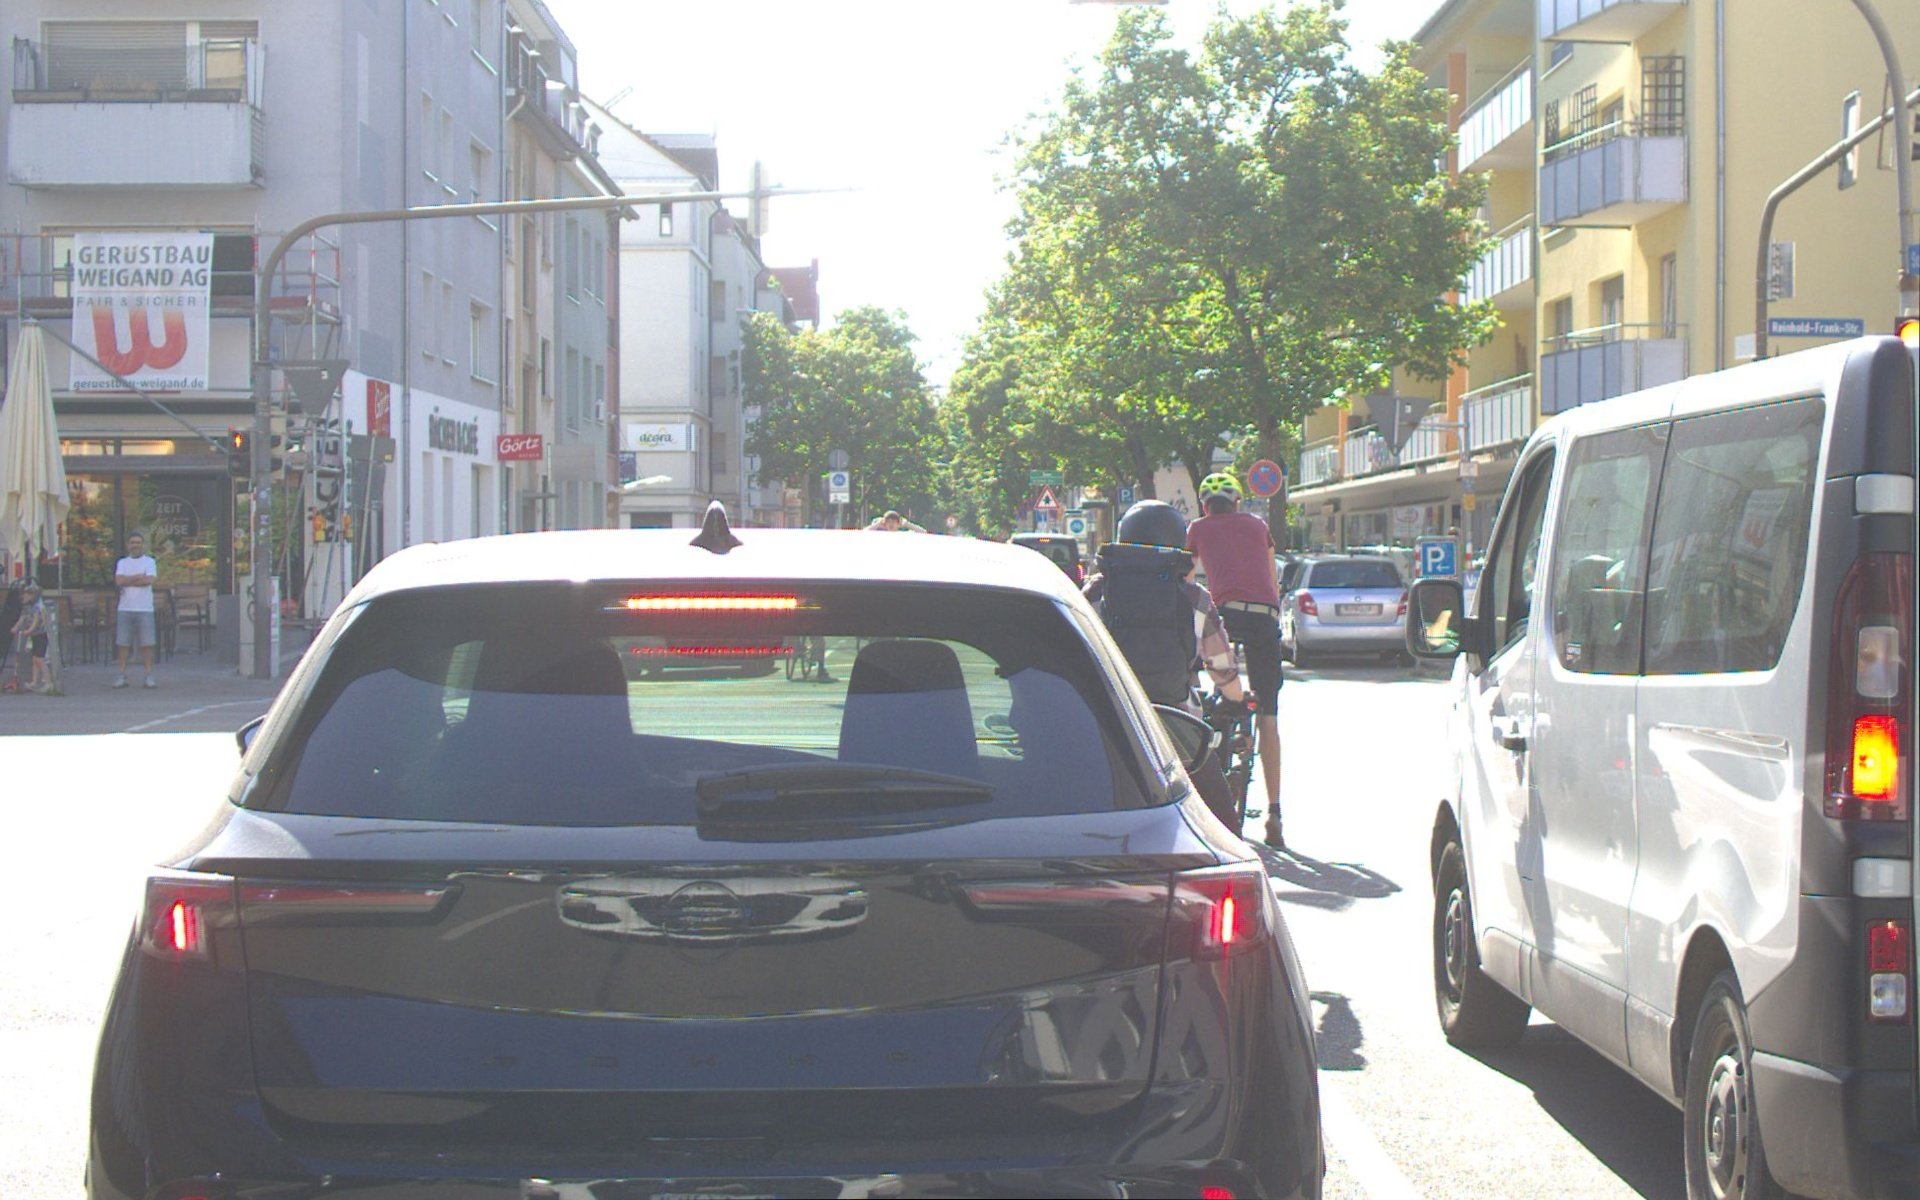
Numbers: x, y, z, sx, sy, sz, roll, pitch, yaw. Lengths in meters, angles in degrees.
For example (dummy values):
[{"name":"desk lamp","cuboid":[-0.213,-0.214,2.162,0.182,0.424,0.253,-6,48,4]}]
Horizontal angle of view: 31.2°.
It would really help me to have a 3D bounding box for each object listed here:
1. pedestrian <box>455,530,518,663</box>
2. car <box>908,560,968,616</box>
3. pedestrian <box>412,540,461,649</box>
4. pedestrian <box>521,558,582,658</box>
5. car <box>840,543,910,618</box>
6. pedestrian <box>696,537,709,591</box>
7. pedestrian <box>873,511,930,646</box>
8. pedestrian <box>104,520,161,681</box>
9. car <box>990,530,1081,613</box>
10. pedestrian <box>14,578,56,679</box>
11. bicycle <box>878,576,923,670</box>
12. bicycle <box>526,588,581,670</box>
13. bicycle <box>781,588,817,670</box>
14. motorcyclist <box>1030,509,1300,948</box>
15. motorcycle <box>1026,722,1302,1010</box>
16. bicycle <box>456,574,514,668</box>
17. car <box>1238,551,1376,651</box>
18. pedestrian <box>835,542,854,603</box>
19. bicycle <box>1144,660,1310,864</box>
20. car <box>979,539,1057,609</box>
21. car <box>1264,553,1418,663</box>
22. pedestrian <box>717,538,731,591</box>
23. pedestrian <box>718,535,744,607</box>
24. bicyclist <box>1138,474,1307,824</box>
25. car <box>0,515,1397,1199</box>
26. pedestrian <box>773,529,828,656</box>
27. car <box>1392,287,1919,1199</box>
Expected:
[{"name":"pedestrian","cuboid":[-6.011,-0.045,43.673,0.707,1.672,0.802,0,1,-2]},{"name":"car","cuboid":[-0.675,-0.389,109.181,1.825,1.722,4.000,0,1,1]},{"name":"pedestrian","cuboid":[-7.339,-0.085,48.216,0.617,1.516,0.725,0,1,-3]},{"name":"pedestrian","cuboid":[-5.178,0.098,43.606,0.707,1.249,0.802,0,1,-2]},{"name":"car","cuboid":[-2.295,-0.549,93.483,1.855,2.007,3.881,0,1,-1]},{"name":"pedestrian","cuboid":[-8.051,-1.131,107.532,0.402,1.669,0.418,0,1,-1]},{"name":"pedestrian","cuboid":[-0.745,-0.272,43.644,0.707,1.695,0.802,0,1,-2]},{"name":"pedestrian","cuboid":[-9.161,0.006,38.069,0.561,1.769,0.584,0,1,-9]},{"name":"car","cuboid":[1.603,-0.636,74.168,1.902,1.722,4.073,0,1,1]},{"name":"pedestrian","cuboid":[-10.066,0.311,37.402,0.355,1.088,0.462,0,1,-3]},{"name":"bicycle","cuboid":[-0.762,0.276,43.701,0.521,1.143,2.170,0,1,-2]},{"name":"bicycle","cuboid":[-5.175,0.352,43.835,0.521,0.989,2.340,0,1,-2]},{"name":"bicycle","cuboid":[-2.048,0.361,43.908,0.443,0.989,2.069,0,1,-2]},{"name":"motorcyclist","cuboid":[0.712,0.431,12.328,0.864,1.497,1.160,0,1,-2]},{"name":"motorcycle","cuboid":[0.685,0.901,12.171,0.825,0.842,1.885,0,1,-1]},{"name":"bicycle","cuboid":[-6.057,0.251,43.893,0.521,1.143,2.284,0,1,-2]},{"name":"car","cuboid":[5.198,-0.016,51.876,1.634,1.428,4.000,0,1,-1]},{"name":"pedestrian","cuboid":[-3.197,-0.772,95.095,0.488,1.684,0.588,0,1,-1]},{"name":"bicycle","cuboid":[1.340,0.798,17.622,0.577,0.901,2.301,0,1,-2]},{"name":"car","cuboid":[1.453,-0.680,87.320,1.902,1.722,4.000,0,1,0]},{"name":"car","cuboid":[5.191,0.080,47.218,1.634,1.428,3.957,0,1,-1]},{"name":"pedestrian","cuboid":[-7.357,-1.111,107.142,0.402,1.669,0.418,0,1,-1]},{"name":"pedestrian","cuboid":[-5.416,-0.694,81.355,0.570,1.684,0.588,0,1,2]},{"name":"bicyclist","cuboid":[1.316,0.228,17.475,0.689,1.707,1.414,0,1,-2]},{"name":"car","cuboid":[-0.419,0.624,6.302,1.770,1.525,4.001,0,1,-2]},{"name":"pedestrian","cuboid":[-2.029,-0.105,43.739,0.680,1.600,0.762,0,1,-2]},{"name":"car","cuboid":[2.450,0.425,8.464,1.993,1.972,4.896,2,1,-1]}]
